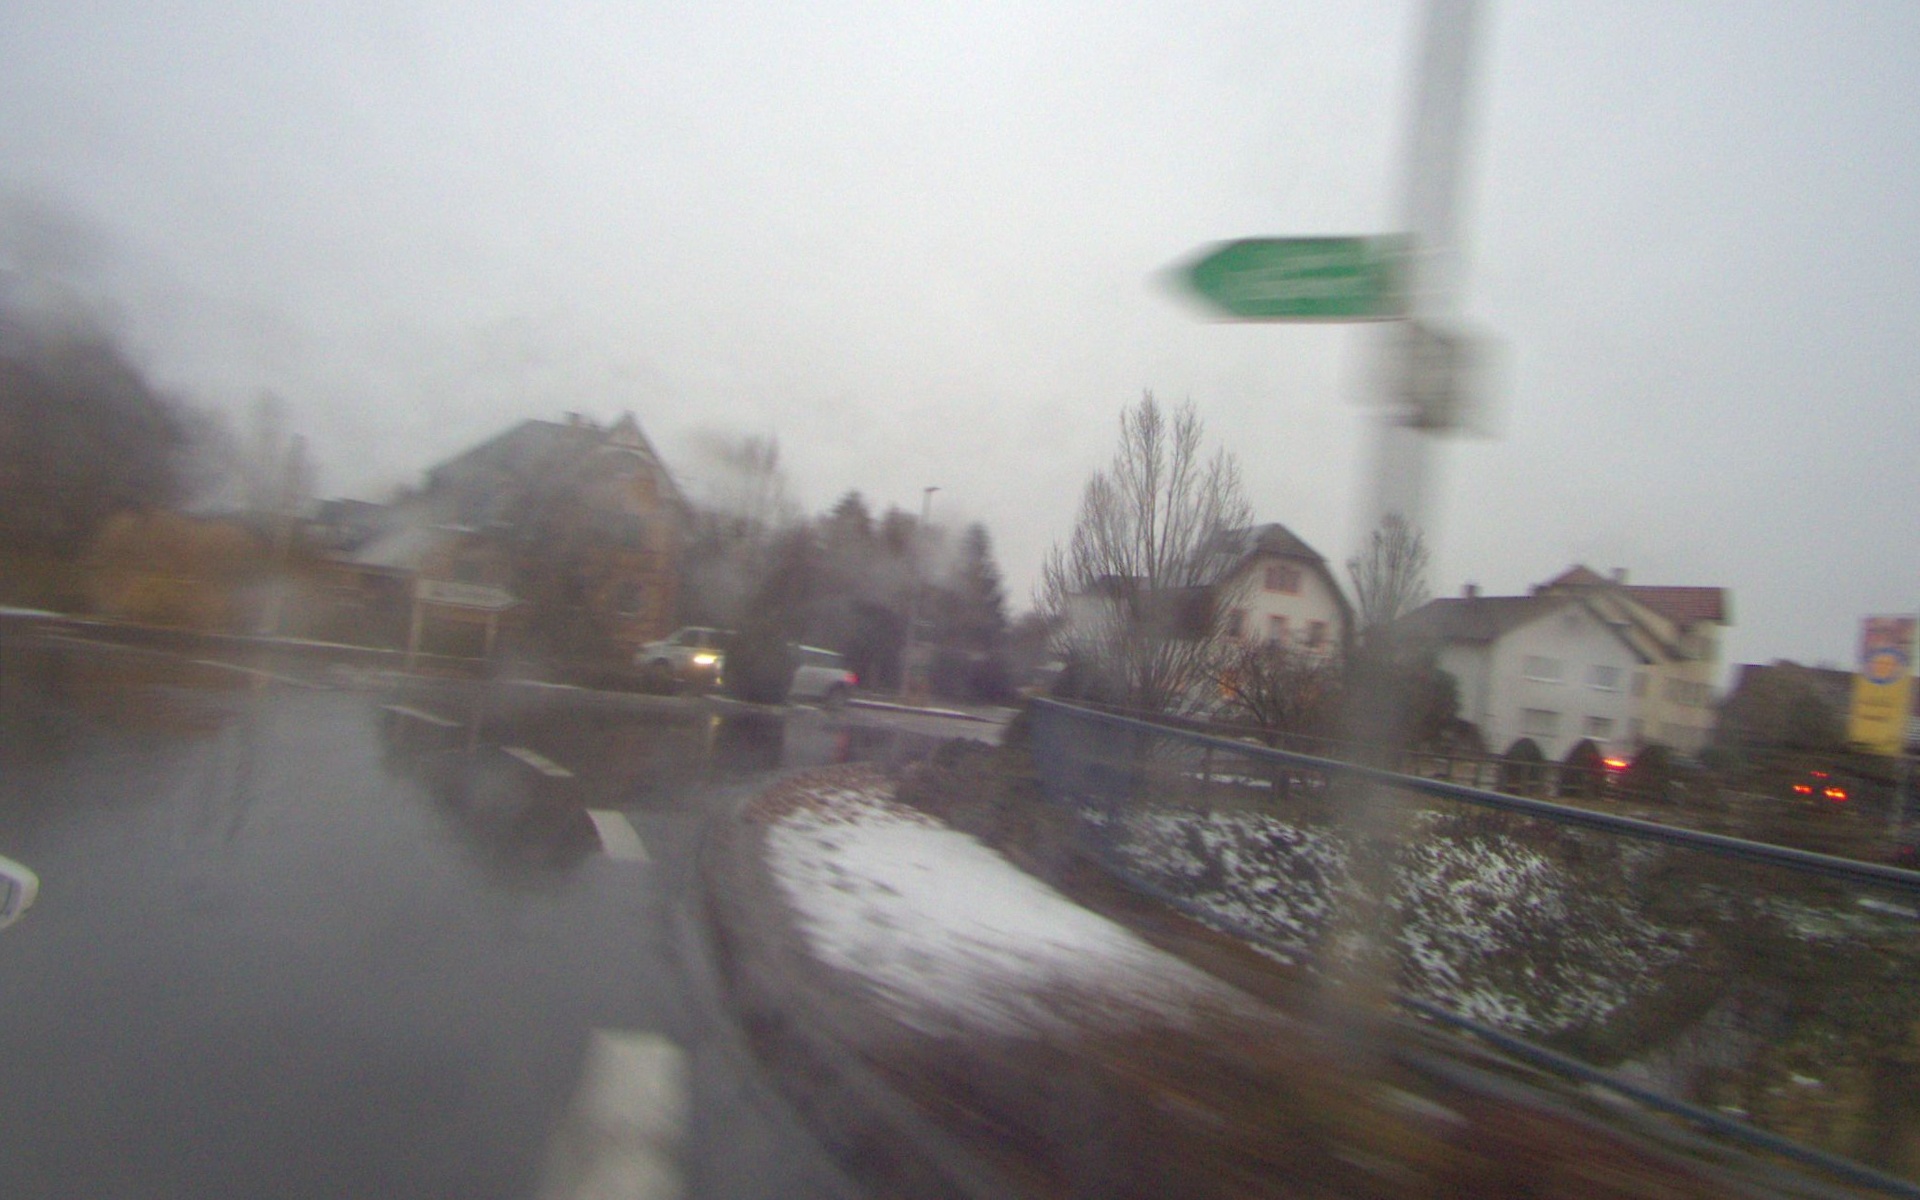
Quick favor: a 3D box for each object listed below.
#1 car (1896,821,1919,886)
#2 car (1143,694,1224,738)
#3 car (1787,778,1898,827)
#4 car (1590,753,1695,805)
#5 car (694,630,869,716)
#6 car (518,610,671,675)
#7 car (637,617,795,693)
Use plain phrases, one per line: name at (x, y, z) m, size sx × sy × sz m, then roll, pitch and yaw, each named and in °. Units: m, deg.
car at (24.317, 6.193, 23.160) m, size 1.602 × 1.417 × 3.906 m, roll 10°, pitch -5°, yaw -42°
car at (10.262, 5.322, 46.462) m, size 1.885 × 1.503 × 3.990 m, roll 7°, pitch -2°, yaw -15°
car at (38.553, 8.843, 43.955) m, size 3.656 × 1.507 × 1.915 m, roll 9°, pitch -5°, yaw -15°
car at (26.584, 6.982, 39.157) m, size 3.810 × 1.507 × 1.751 m, roll 10°, pitch -5°, yaw -27°
car at (-4.125, 1.748, 23.645) m, size 1.642 × 1.507 × 3.697 m, roll 3°, pitch -6°, yaw 43°
car at (-14.004, 1.624, 38.963) m, size 5.250 × 1.887 × 2.361 m, roll 7°, pitch -2°, yaw -17°
car at (-8.684, 1.992, 35.967) m, size 5.168 × 1.938 × 1.936 m, roll 9°, pitch -5°, yaw -15°
